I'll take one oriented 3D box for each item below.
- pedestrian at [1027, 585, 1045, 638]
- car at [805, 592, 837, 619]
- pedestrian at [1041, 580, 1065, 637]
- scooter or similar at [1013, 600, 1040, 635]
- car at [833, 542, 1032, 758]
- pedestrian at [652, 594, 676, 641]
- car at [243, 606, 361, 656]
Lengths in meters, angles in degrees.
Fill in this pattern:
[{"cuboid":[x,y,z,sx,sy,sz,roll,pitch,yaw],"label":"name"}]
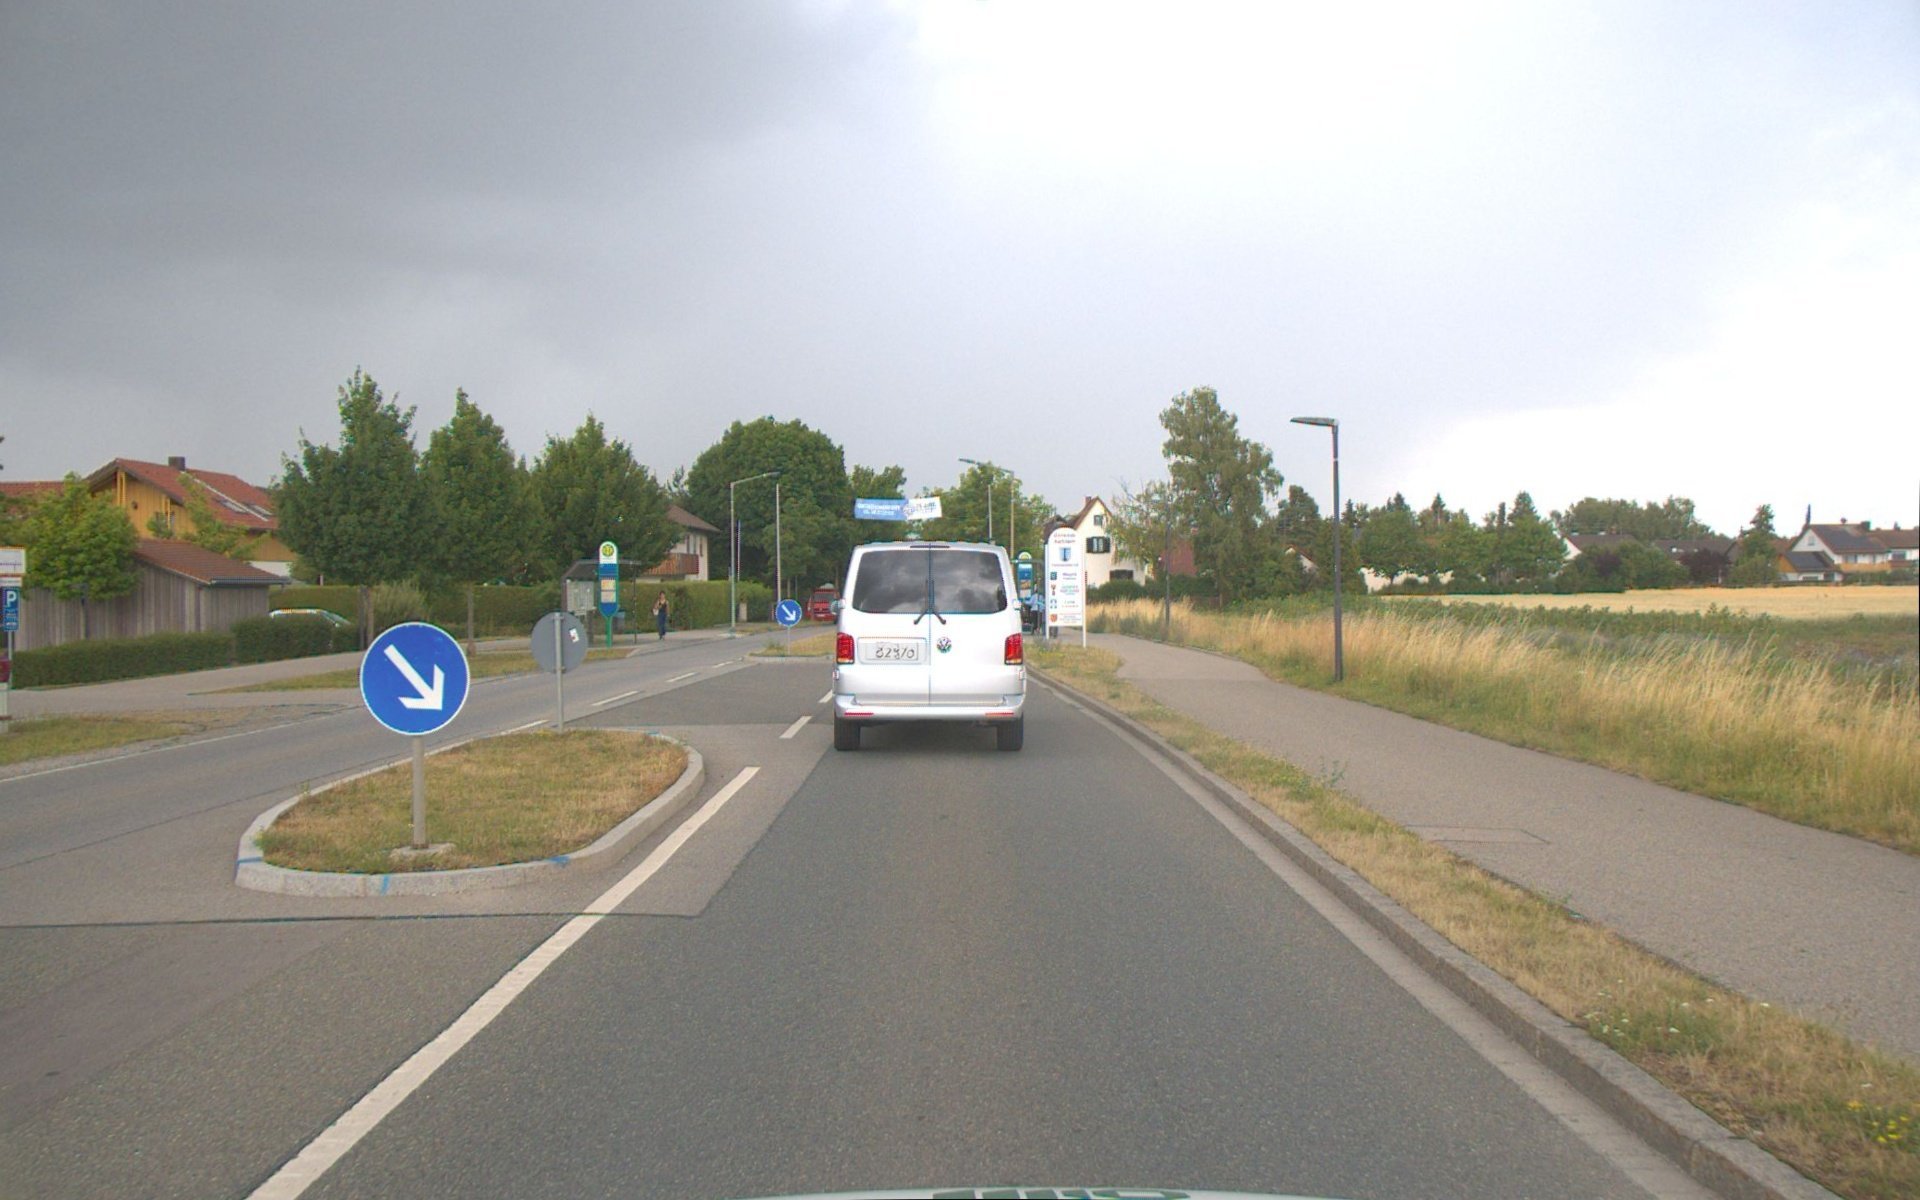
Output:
[{"cuboid":[2.588,0.389,56.402,0.475,1.762,0.642,-2,0,-1],"label":"pedestrian"},{"cuboid":[-8.226,0.304,98.180,1.620,1.454,3.601,-3,1,-1],"label":"car"},{"cuboid":[2.939,0.280,52.199,0.626,1.762,0.487,-2,0,11],"label":"pedestrian"},{"cuboid":[2.301,0.598,57.278,0.831,1.123,1.094,-3,0,-1],"label":"scooter or similar"},{"cuboid":[-0.322,0.432,16.918,1.789,1.947,3.998,0,0,-2],"label":"car"},{"cuboid":[-10.008,0.588,55.947,0.611,1.551,0.679,-2,0,-1],"label":"pedestrian"},{"cuboid":[-23.522,1.092,59.228,3.520,1.555,1.658,-3,0,-4],"label":"car"}]
